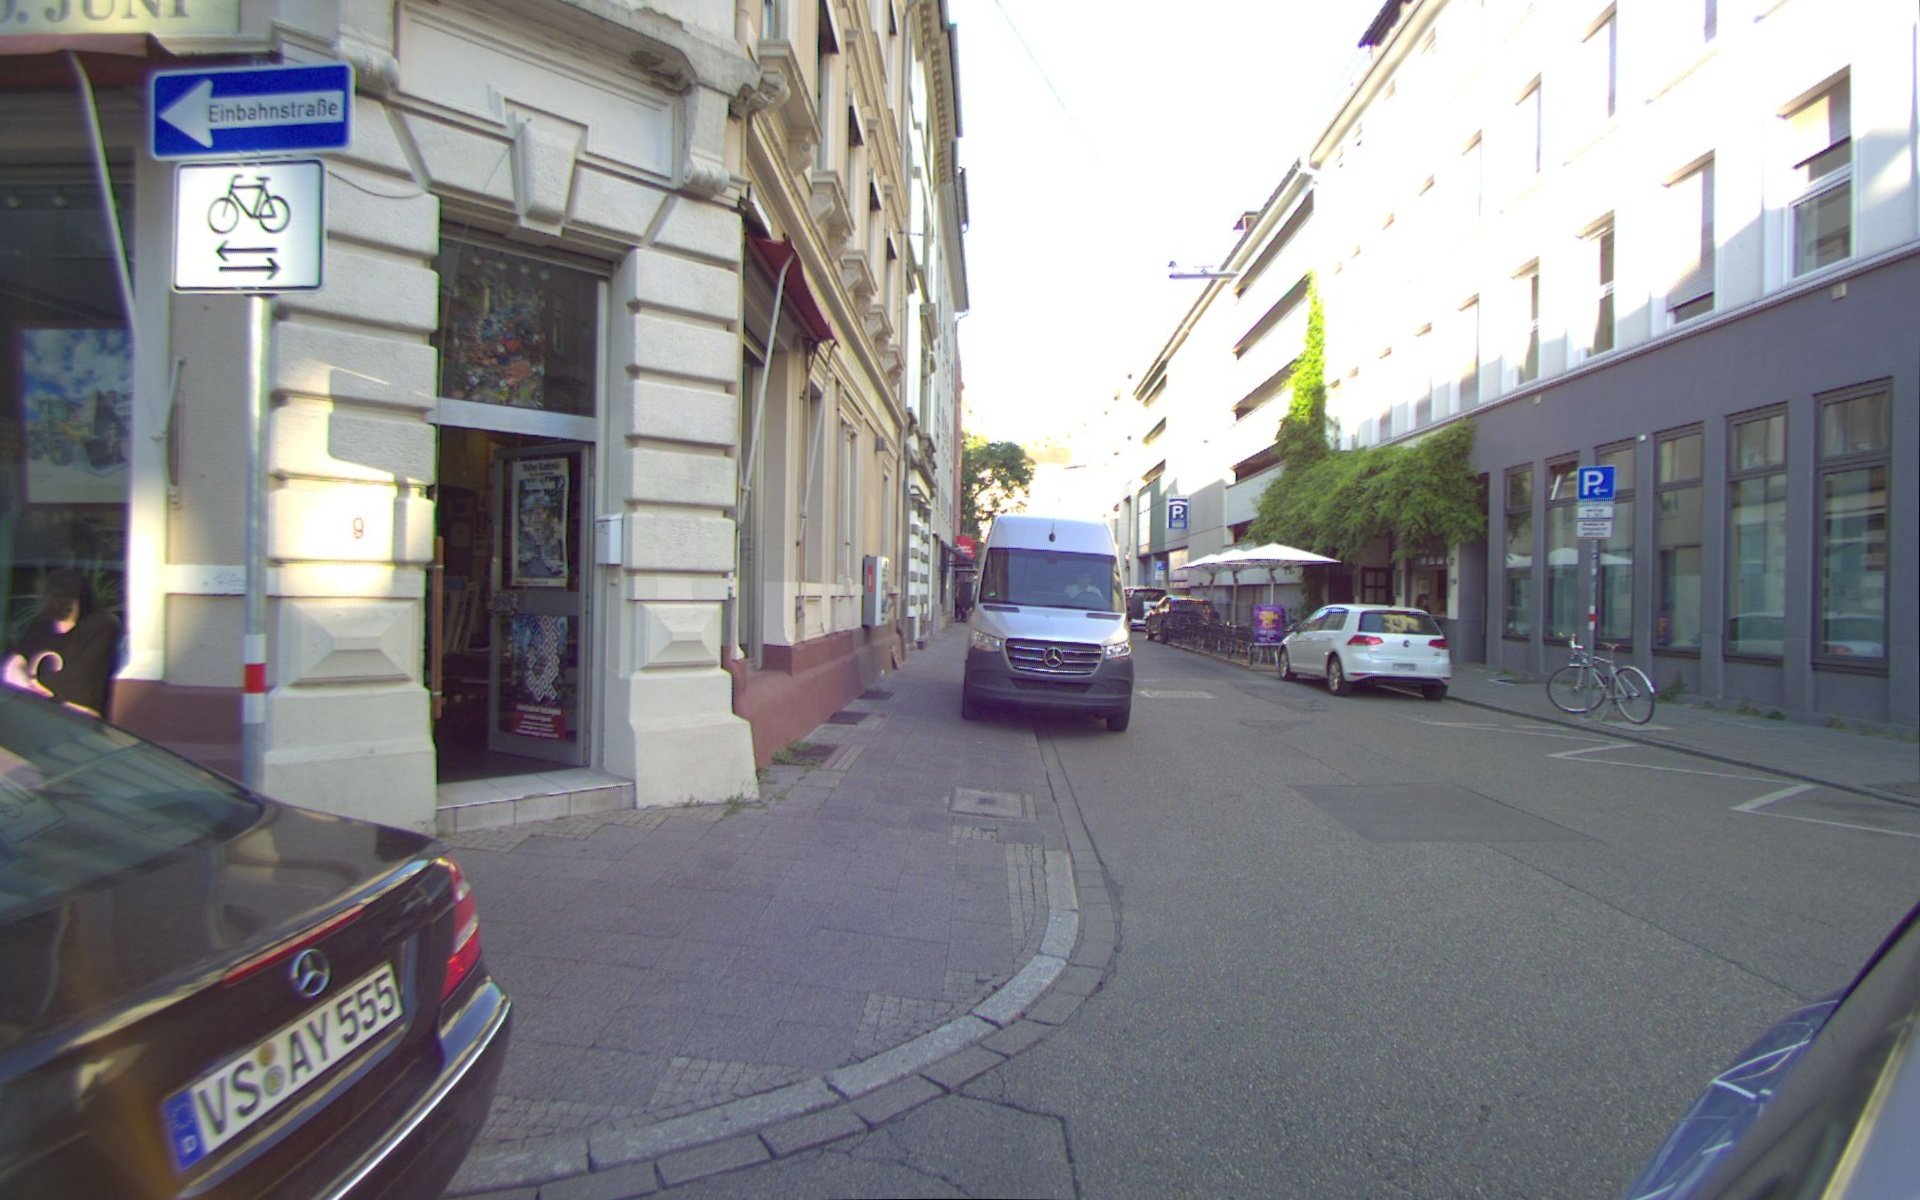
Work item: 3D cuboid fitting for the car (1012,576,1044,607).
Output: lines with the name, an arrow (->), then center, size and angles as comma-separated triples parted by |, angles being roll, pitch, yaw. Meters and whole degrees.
car -> 4.659, -0.598, 68.888 | 1.965, 2.039, 3.994 | 2, 1, 6

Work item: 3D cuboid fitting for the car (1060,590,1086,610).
car -> 9.323, -0.060, 83.749 | 1.965, 1.435, 4.553 | 3, 2, 5

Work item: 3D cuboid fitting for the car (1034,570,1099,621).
car -> 3.431, -0.175, 33.160 | 1.756, 1.543, 3.999 | 0, 1, 1

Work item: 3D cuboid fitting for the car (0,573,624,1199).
car -> -3.278, 0.637, 1.921 | 4.647, 1.426, 1.887 | 2, 1, 6

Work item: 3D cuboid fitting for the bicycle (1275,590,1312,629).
bicycle -> 10.353, 0.282, 31.445 | 0.633, 1.175, 1.792 | 1, 1, 3

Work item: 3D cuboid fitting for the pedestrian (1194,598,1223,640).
pedestrian -> 7.061, 0.533, 28.742 | 0.550, 1.180, 0.732 | 2, 0, 35

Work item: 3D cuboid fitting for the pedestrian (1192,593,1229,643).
pedestrian -> 6.862, 0.477, 27.764 | 0.769, 1.303, 0.915 | 2, 0, 3

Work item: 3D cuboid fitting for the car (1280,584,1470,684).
car -> 6.825, 0.476, 17.093 | 1.632, 1.431, 3.881 | 2, 1, 1

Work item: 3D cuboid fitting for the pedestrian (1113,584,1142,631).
pedestrian -> 5.777, 0.251, 34.909 | 0.816, 1.564, 1.082 | 1, 0, 2

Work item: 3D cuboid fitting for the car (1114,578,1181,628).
car -> 8.250, 0.094, 44.994 | 1.962, 1.964, 4.851 | 3, 1, 0

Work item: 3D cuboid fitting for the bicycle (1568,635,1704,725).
bicycle -> 8.148, 0.936, 12.279 | 0.587, 0.916, 1.643 | 1, 1, 3

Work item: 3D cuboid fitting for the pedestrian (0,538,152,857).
pedestrian -> -4.653, 0.445, 5.104 | 0.570, 1.490, 0.716 | 1, 0, 3

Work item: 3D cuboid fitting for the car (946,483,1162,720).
car -> 1.165, -0.033, 13.892 | 2.243, 2.470, 6.198 | 1, 1, 3

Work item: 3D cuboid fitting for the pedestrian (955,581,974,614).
pedestrian -> 0.201, -0.116, 46.249 | 0.812, 1.504, 0.661 | 2, 0, 2

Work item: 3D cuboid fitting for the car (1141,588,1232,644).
car -> 7.445, 0.475, 33.740 | 1.852, 1.587, 4.771 | 4, 1, 0

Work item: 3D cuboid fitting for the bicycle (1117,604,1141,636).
bicycle -> 5.801, 0.682, 34.786 | 0.530, 1.020, 1.980 | 1, 1, 2
